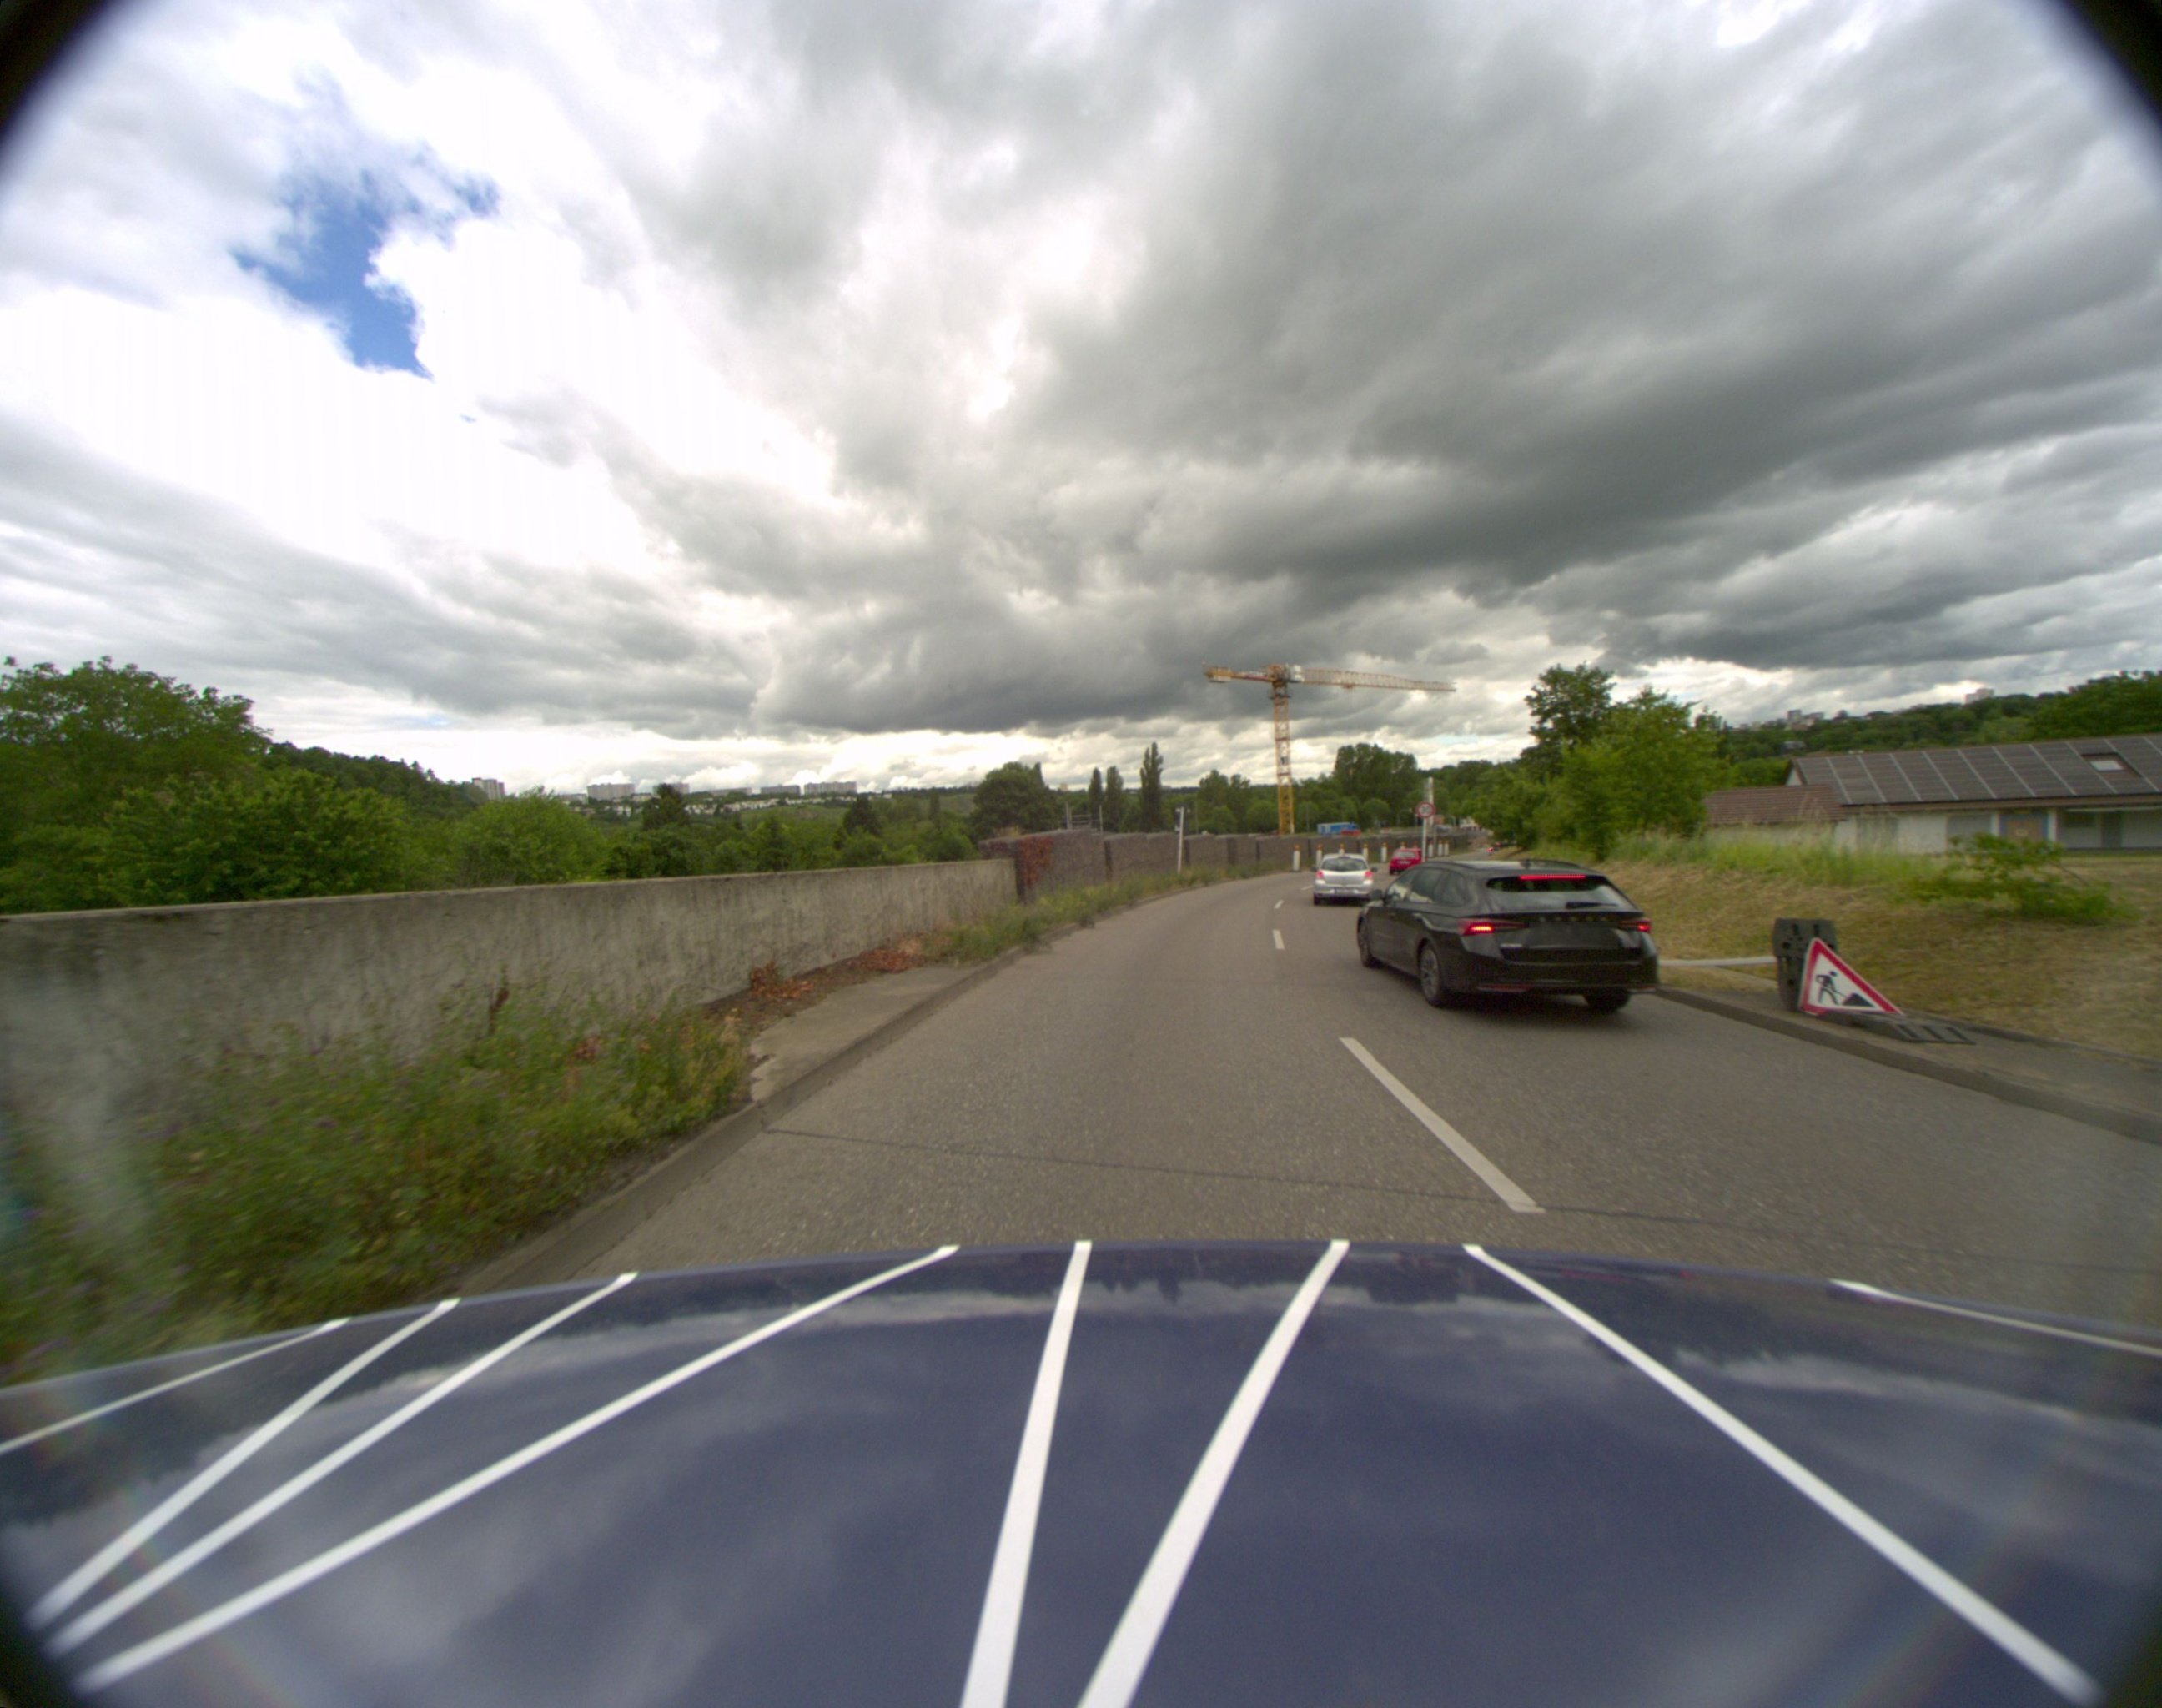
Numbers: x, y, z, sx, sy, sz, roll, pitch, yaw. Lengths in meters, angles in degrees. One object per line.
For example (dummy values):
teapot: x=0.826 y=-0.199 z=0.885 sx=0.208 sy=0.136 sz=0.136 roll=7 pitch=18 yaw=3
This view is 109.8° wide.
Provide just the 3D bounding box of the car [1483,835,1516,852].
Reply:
car: x=36.645 y=-0.901 z=66.440 sx=1.882 sy=1.469 sz=4.611 roll=2 pitch=1 yaw=36

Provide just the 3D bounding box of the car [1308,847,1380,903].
car: x=7.842 y=0.565 z=22.948 sx=1.777 sy=1.487 sz=3.917 roll=0 pitch=1 yaw=15

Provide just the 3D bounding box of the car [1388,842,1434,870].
car: x=18.437 y=0.079 z=42.385 sx=1.742 sy=1.408 sz=3.760 roll=3 pitch=3 yaw=32

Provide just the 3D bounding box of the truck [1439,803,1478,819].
truck: x=86.764 y=-9.891 z=174.769 sx=2.763 sy=3.240 sz=7.593 roll=-5 pitch=2 yaw=-27

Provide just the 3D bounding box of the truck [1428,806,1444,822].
truck: x=91.781 y=-10.353 z=196.176 sx=3.033 sy=3.876 sz=10.016 roll=-2 pitch=3 yaw=29

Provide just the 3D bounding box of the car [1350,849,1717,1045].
car: x=4.406 y=0.732 z=8.341 sx=1.740 sy=1.486 sz=4.436 roll=0 pitch=1 yaw=6
